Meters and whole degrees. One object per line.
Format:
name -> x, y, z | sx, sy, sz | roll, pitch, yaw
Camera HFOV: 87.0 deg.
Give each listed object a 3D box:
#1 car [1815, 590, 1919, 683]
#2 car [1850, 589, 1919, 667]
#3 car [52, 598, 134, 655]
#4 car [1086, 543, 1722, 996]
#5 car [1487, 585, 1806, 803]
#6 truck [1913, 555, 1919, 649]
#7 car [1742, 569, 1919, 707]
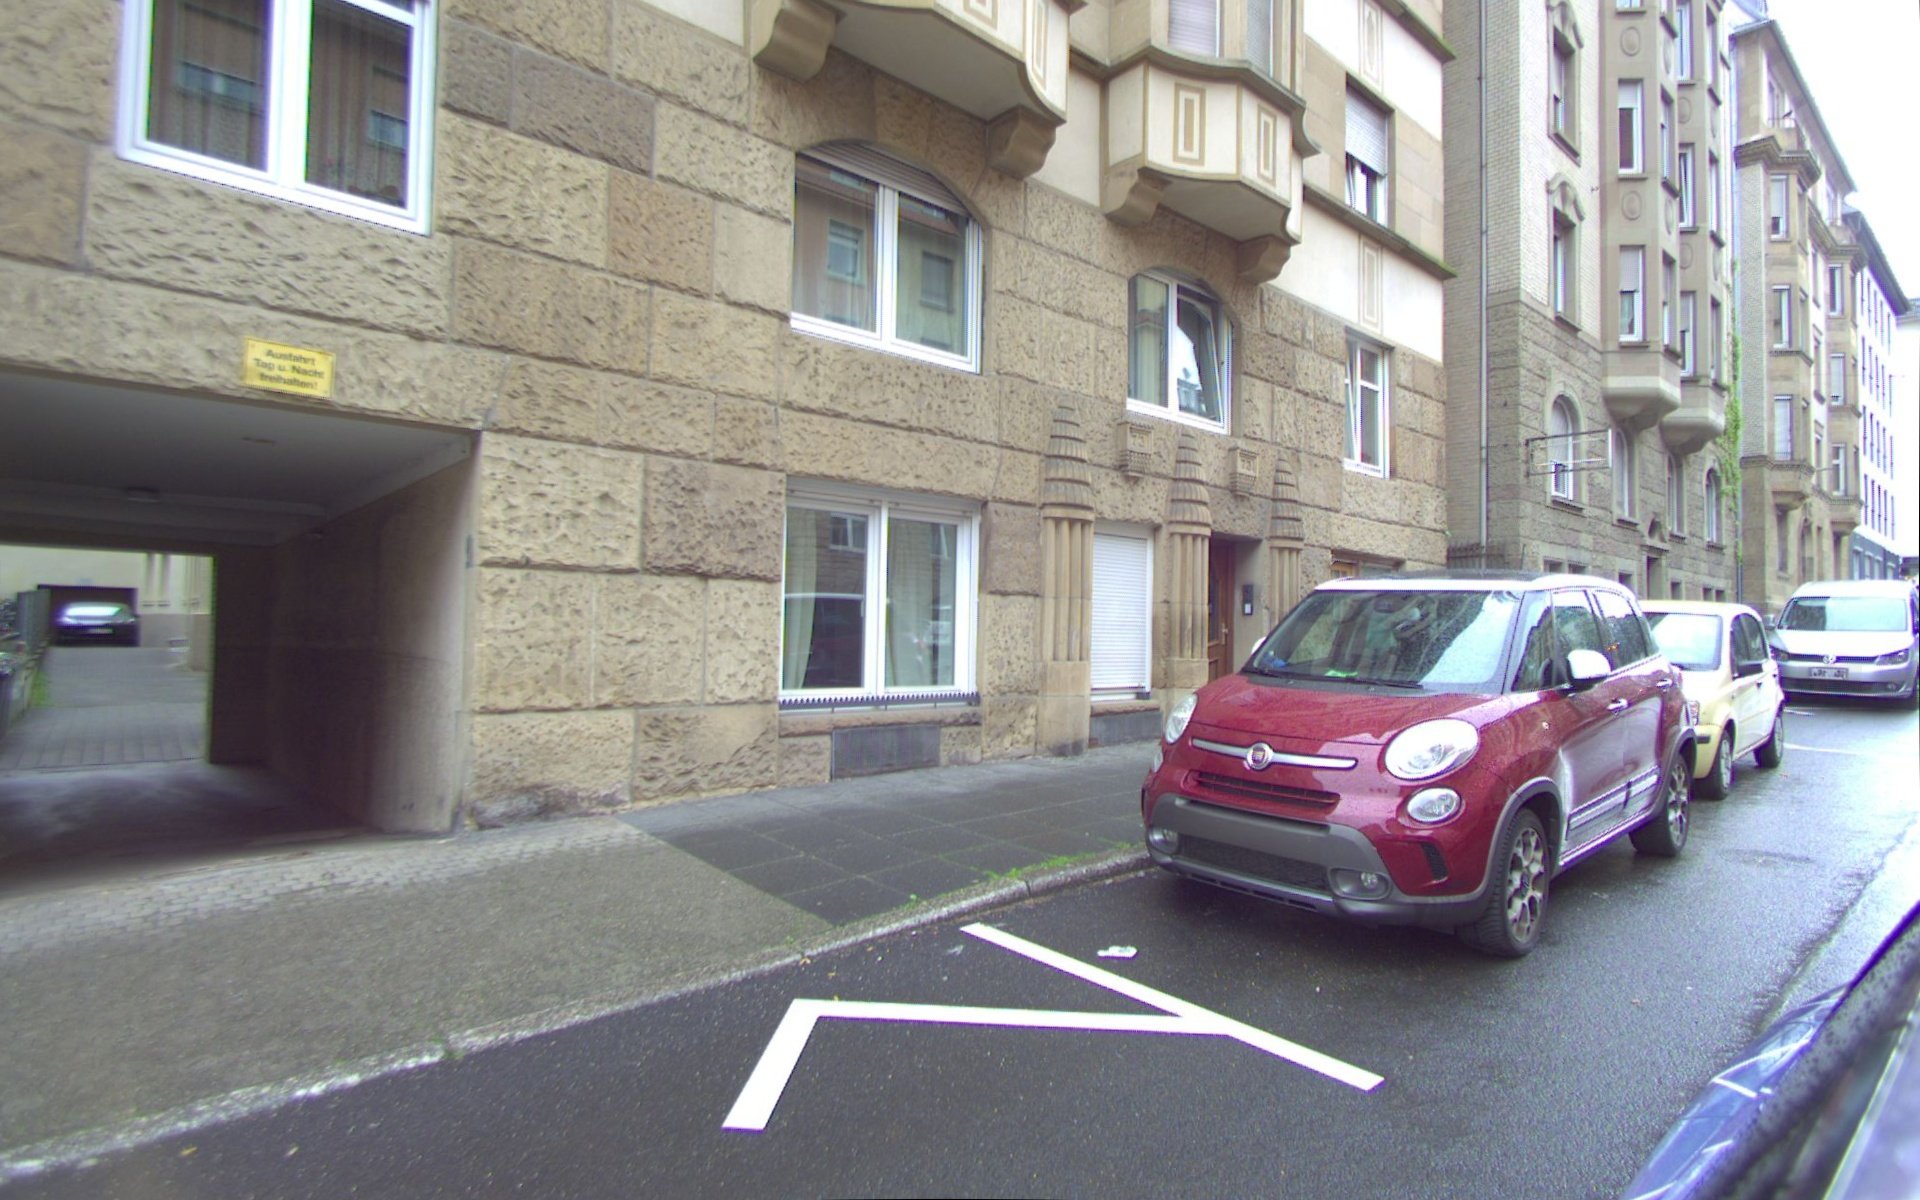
car -> 17.161, 0.603, 18.499 | 3.934, 1.549, 1.994 | 0, -1, -45
car -> 20.467, 0.551, 21.439 | 3.860, 1.549, 1.889 | 0, -1, -41
car -> -25.196, 0.719, 29.450 | 1.692, 1.541, 4.098 | 0, -1, -41
car -> 2.670, 0.609, 5.627 | 3.932, 1.619, 1.804 | 0, -1, -42
car -> 6.191, 0.674, 8.989 | 3.517, 1.549, 1.578 | 0, -1, -43
truck -> 29.152, 0.031, 28.878 | 6.036, 2.568, 2.234 | 0, -1, -41
car -> 13.754, 0.501, 15.507 | 4.380, 1.825, 1.966 | 0, -1, -41
